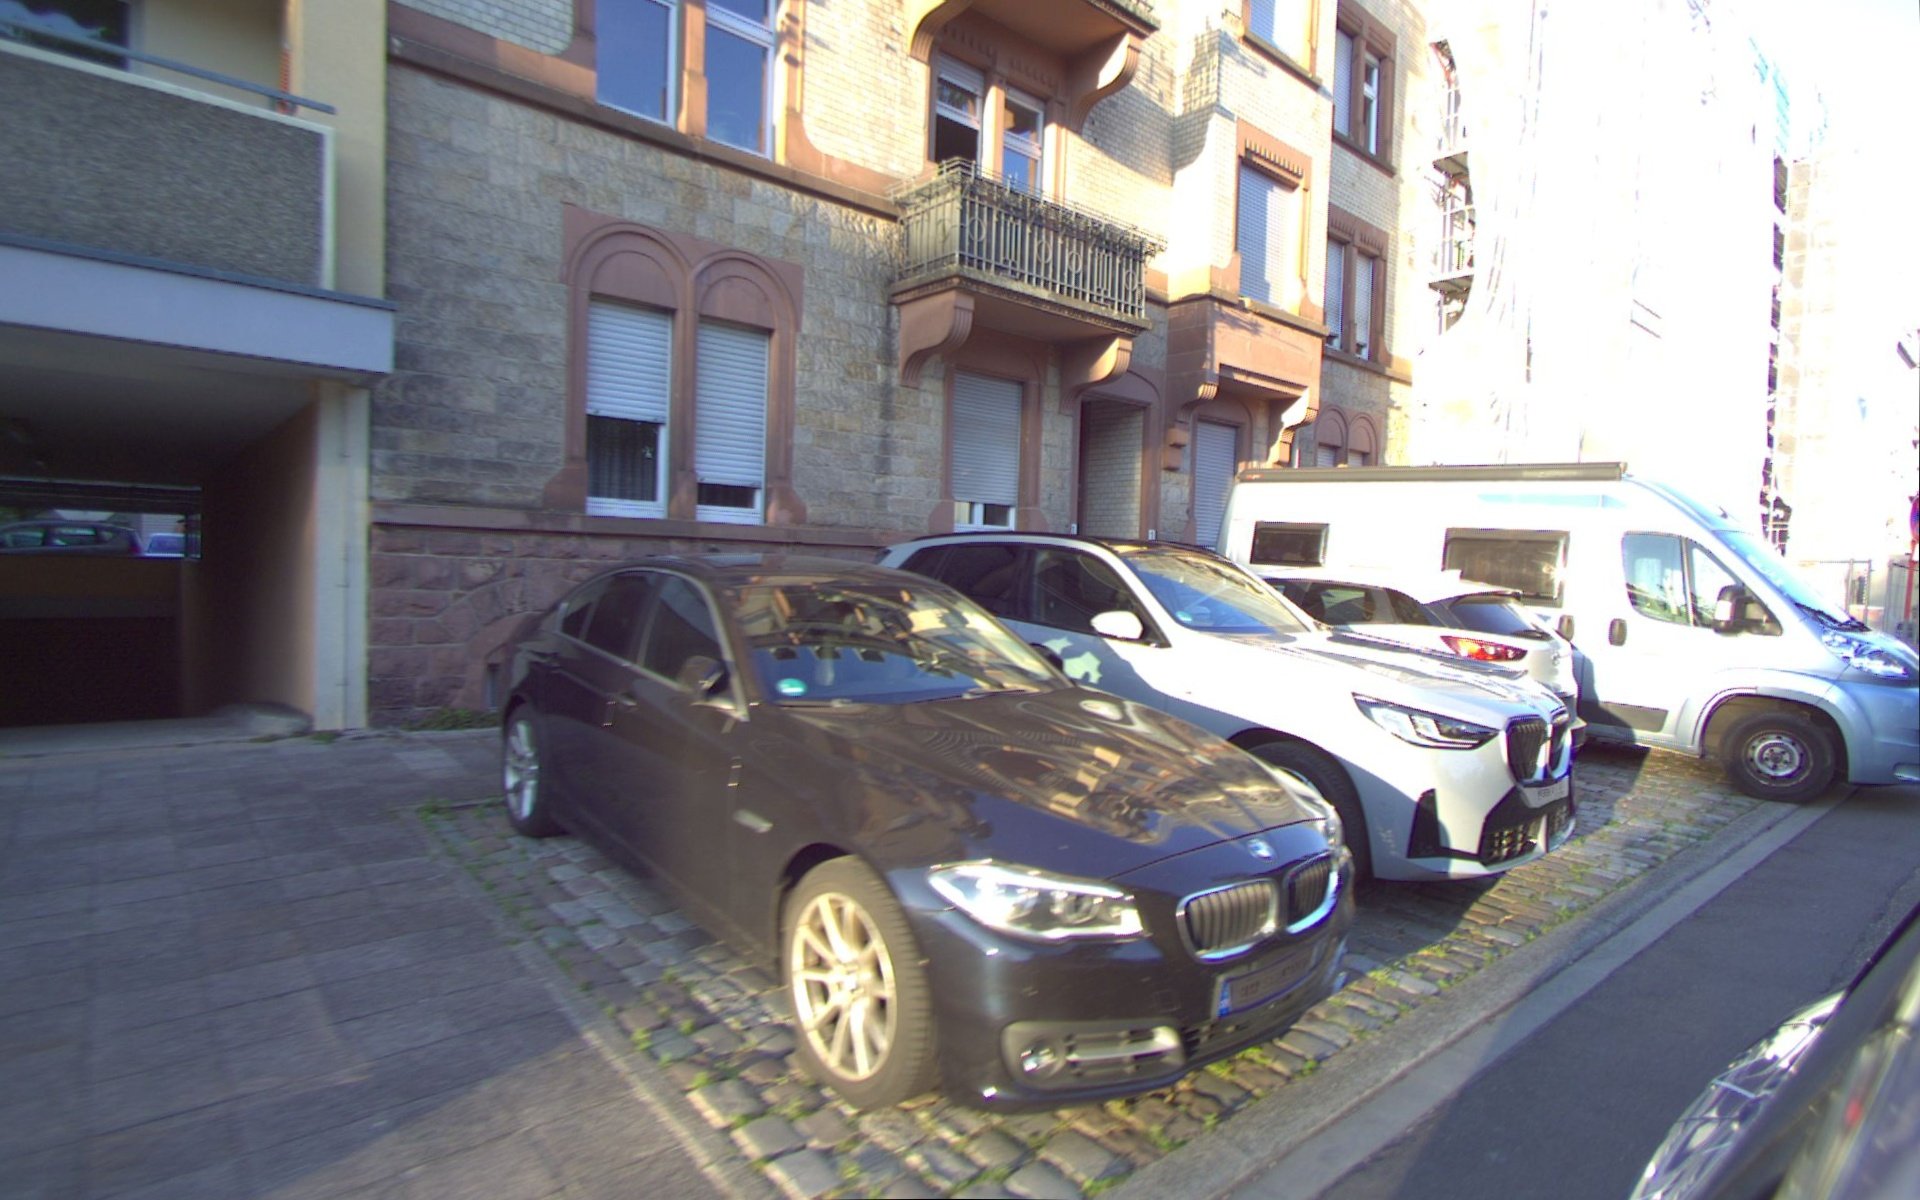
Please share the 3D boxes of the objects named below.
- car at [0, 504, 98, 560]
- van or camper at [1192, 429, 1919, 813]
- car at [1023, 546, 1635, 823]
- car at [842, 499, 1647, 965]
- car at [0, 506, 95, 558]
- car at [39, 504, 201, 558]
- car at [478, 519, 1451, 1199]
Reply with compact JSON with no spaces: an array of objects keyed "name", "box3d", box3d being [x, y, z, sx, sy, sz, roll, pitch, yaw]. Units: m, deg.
[{"name":"car","box3d":[-37.152,-2.629,39.022,5.953,2.039,1.997,0,1,-41]},{"name":"van or camper","box3d":[5.328,-0.057,9.493,2.014,2.534,6.074,0,4,-40]},{"name":"car","box3d":[2.672,0.430,8.289,1.812,1.639,4.414,0,2,-39]},{"name":"car","box3d":[1.249,0.362,6.117,1.812,1.769,4.416,0,4,-39]},{"name":"car","box3d":[-39.794,-2.821,41.951,5.953,2.039,1.997,0,1,-41]},{"name":"car","box3d":[-32.461,-2.605,39.258,4.753,1.856,1.997,0,1,-41]},{"name":"car","box3d":[-0.530,0.452,4.397,1.813,1.572,4.415,-2,5,-39]}]
